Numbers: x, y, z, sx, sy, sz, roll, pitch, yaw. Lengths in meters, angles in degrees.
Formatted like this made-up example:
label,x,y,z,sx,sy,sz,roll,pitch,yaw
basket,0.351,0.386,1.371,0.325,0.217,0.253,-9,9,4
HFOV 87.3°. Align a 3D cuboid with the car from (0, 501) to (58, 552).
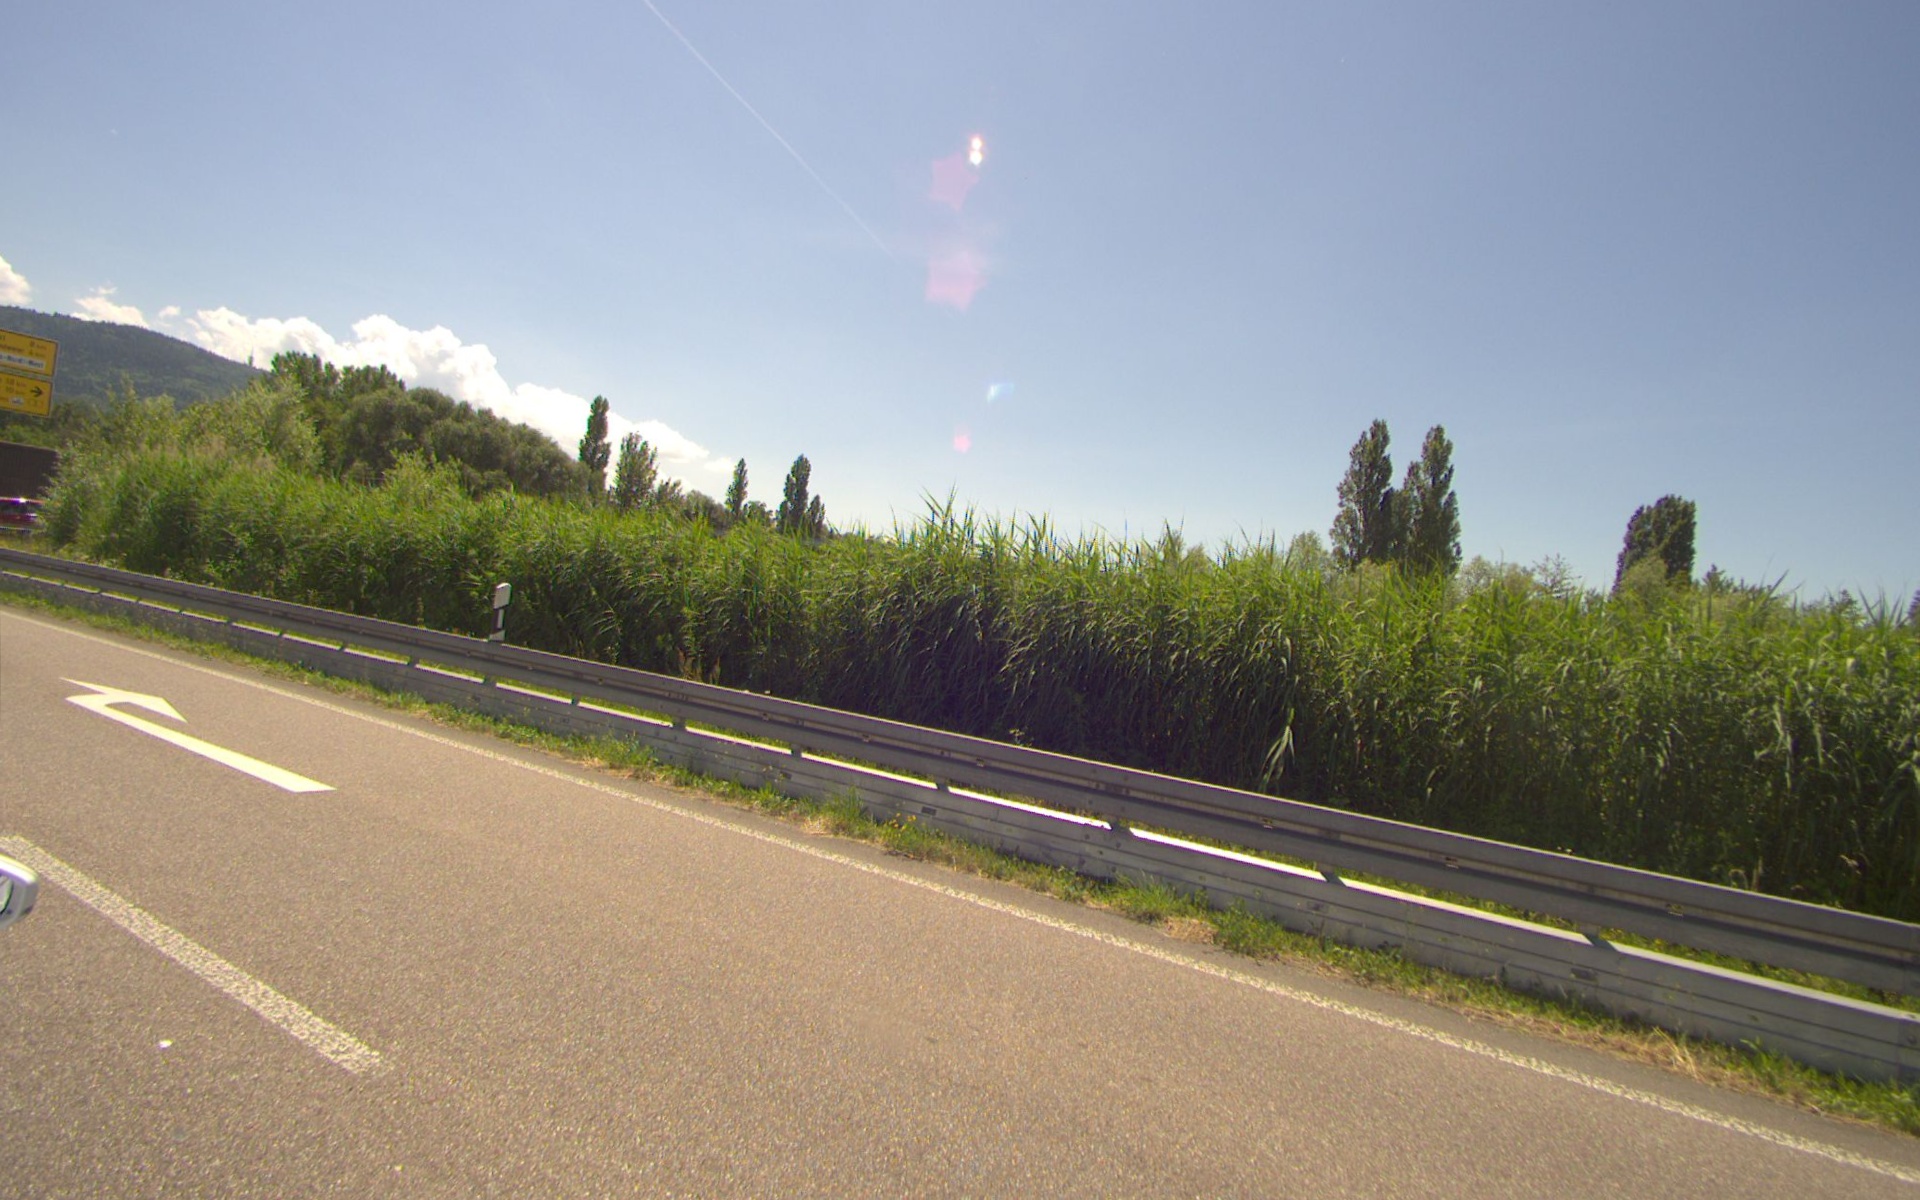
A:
label,x,y,z,sx,sy,sz,roll,pitch,yaw
car,-36.335,-2.947,36.903,1.966,1.676,4.320,7,-2,28
